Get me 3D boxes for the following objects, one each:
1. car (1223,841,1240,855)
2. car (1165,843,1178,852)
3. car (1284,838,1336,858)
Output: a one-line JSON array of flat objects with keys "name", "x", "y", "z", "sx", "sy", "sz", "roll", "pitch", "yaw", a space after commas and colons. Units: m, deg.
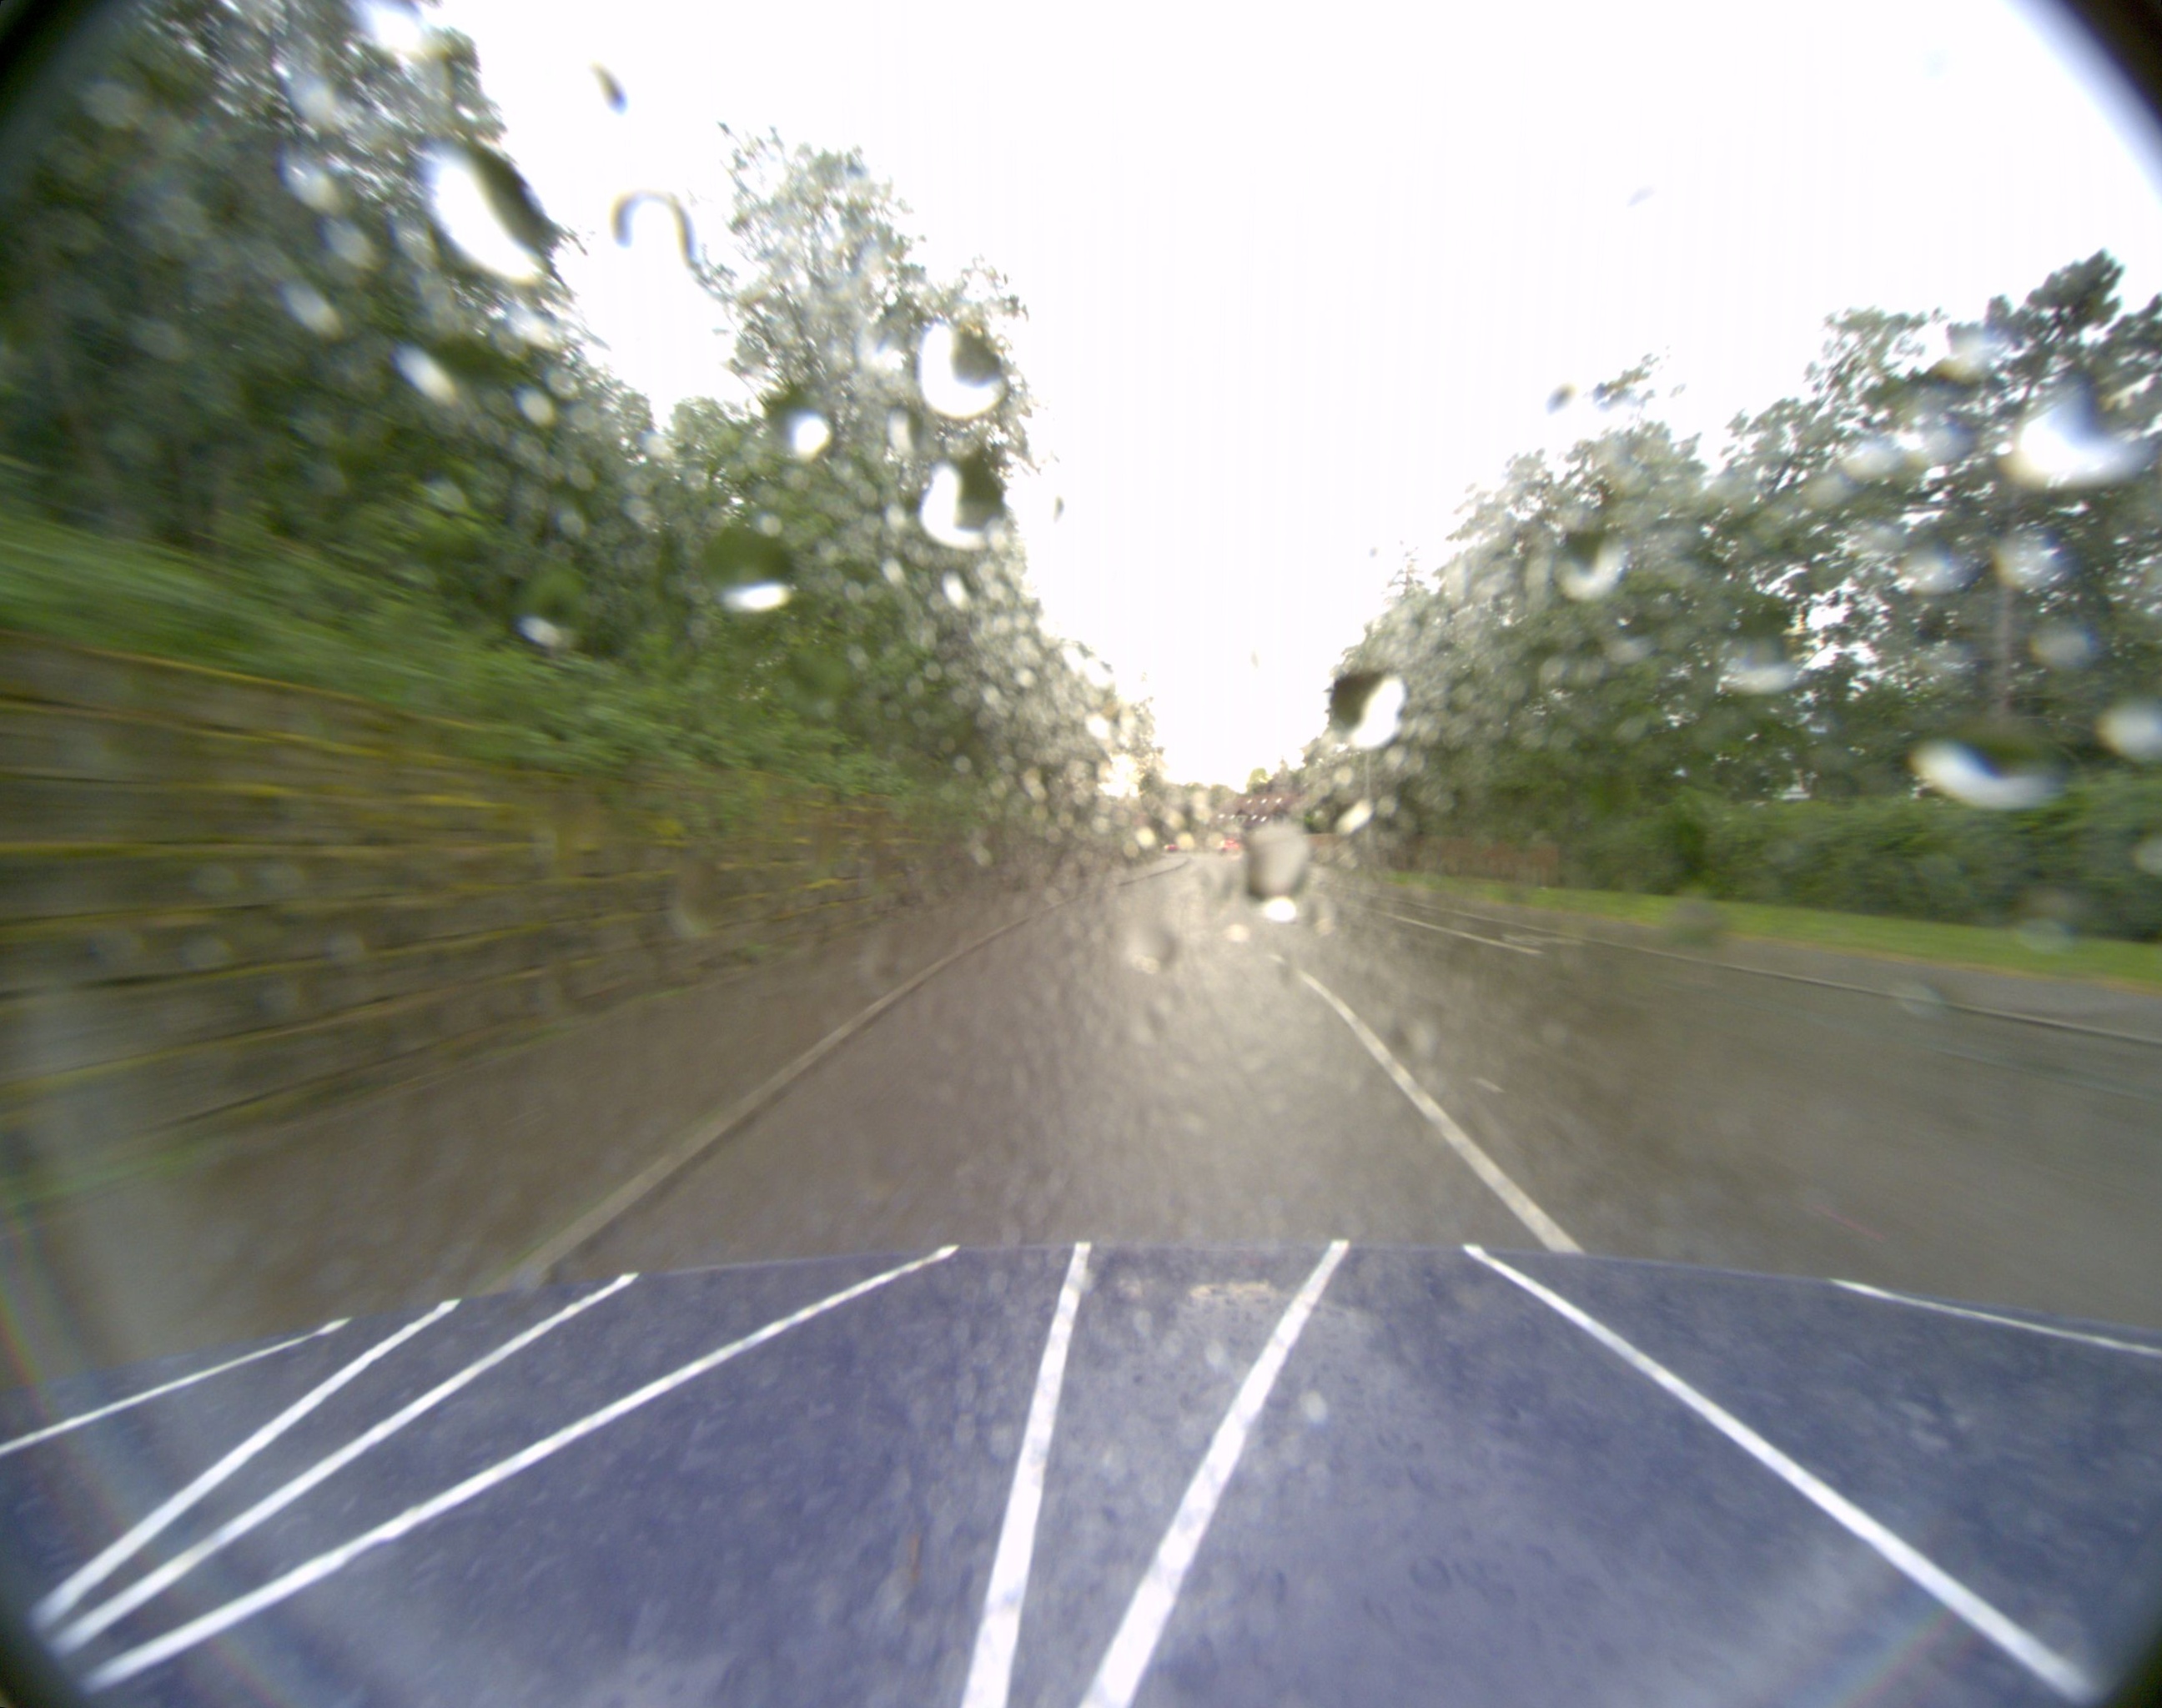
[{"name": "car", "x": 17.296, "y": -0.712, "z": 87.345, "sx": 1.921, "sy": 1.638, "sz": 4.549, "roll": 0, "pitch": 1, "yaw": 10}, {"name": "car", "x": 15.779, "y": -1.106, "z": 132.710, "sx": 1.838, "sy": 1.503, "sz": 4.168, "roll": -1, "pitch": 1, "yaw": 2}, {"name": "car", "x": 21.995, "y": -0.606, "z": 73.085, "sx": 4.511, "sy": 1.849, "sz": 2.091, "roll": -1, "pitch": 1, "yaw": 10}]
